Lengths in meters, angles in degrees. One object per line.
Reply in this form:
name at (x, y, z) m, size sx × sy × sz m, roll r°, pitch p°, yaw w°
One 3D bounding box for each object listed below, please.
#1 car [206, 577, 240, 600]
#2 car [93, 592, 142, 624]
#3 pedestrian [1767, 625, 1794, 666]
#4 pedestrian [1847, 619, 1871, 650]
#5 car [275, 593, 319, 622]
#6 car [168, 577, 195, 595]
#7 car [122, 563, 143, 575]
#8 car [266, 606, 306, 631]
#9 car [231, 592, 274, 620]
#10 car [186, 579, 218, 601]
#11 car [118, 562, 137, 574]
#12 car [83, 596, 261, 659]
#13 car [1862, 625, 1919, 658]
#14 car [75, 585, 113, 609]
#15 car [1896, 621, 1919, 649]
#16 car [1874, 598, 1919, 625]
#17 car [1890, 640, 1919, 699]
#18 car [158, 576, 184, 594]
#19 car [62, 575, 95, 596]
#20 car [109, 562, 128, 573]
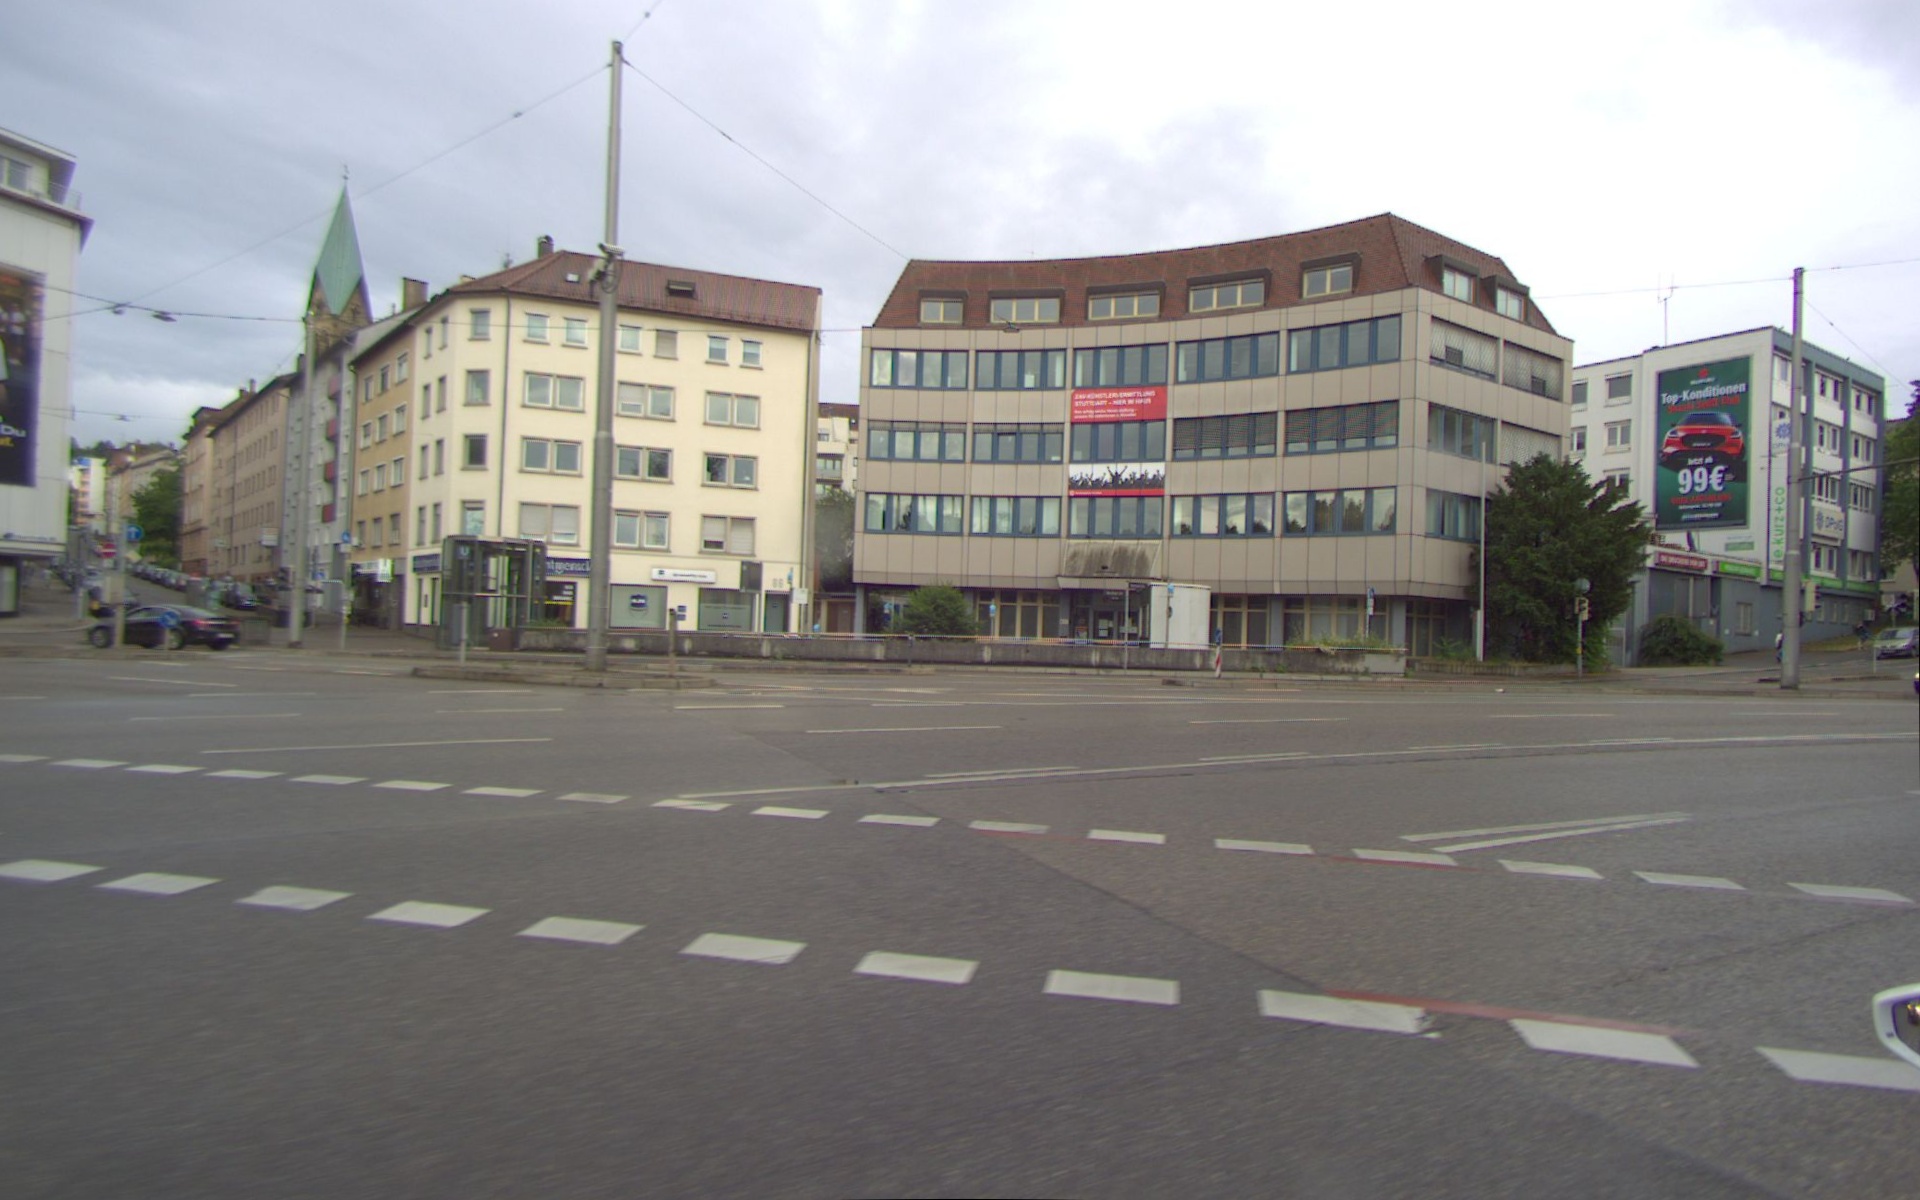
car at (-57.577, -0.927, 78.410) m, size 1.903 × 1.611 × 3.954 m, roll 3°, pitch -1°, yaw -39°
car at (-45.754, 0.467, 54.601) m, size 1.903 × 1.611 × 3.955 m, roll 3°, pitch -3°, yaw -39°
pedestrian at (41.897, 2.339, 51.292) m, size 0.971 × 2.040 × 0.834 m, roll 3°, pitch -2°, yaw -32°
pedestrian at (52.237, 1.996, 58.367) m, size 0.971 × 1.740 × 0.834 m, roll 3°, pitch -2°, yaw -32°
car at (-38.842, 0.447, 58.798) m, size 1.746 × 1.611 × 3.754 m, roll 3°, pitch -3°, yaw -39°
car at (-73.725, -1.328, 95.130) m, size 1.903 × 1.611 × 3.954 m, roll 3°, pitch -1°, yaw -39°
car at (-117.835, -4.383, 143.078) m, size 1.906 × 1.611 × 3.947 m, roll 4°, pitch -1°, yaw -44°
car at (-35.580, 0.958, 52.998) m, size 1.393 × 1.246 × 3.128 m, roll 3°, pitch -3°, yaw -39°
car at (-44.203, 0.388, 62.738) m, size 1.903 × 1.611 × 3.955 m, roll 3°, pitch -3°, yaw -39°
car at (-61.496, -0.838, 81.446) m, size 1.903 × 1.611 × 3.954 m, roll 3°, pitch -1°, yaw -39°
car at (-125.565, -4.848, 151.514) m, size 1.906 × 1.611 × 3.947 m, roll 4°, pitch -1°, yaw -44°
car at (-26.055, 0.923, 33.301) m, size 4.350 × 1.867 × 2.001 m, roll 2°, pitch -2°, yaw 5°
car at (50.492, 2.210, 54.017) m, size 4.129 × 1.482 × 1.823 m, roll -3°, pitch 0°, yaw -32°
car at (-62.665, -0.178, 72.721) m, size 1.903 × 1.611 × 3.955 m, roll 3°, pitch -3°, yaw -39°
car at (55.320, 1.956, 57.172) m, size 4.021 × 1.450 × 1.825 m, roll -3°, pitch 0°, yaw -30°
car at (75.092, 0.941, 79.093) m, size 1.981 × 2.032 × 4.387 m, roll 3°, pitch -3°, yaw -36°
car at (26.992, 1.868, 26.301) m, size 4.046 × 1.532 × 1.765 m, roll 2°, pitch -2°, yaw -9°
car at (-77.730, -1.483, 98.919) m, size 1.903 × 1.611 × 3.954 m, roll 3°, pitch -1°, yaw -39°
car at (-76.208, -1.267, 86.866) m, size 1.903 × 1.611 × 3.955 m, roll 3°, pitch -3°, yaw -39°
car at (-129.449, -4.990, 154.488) m, size 1.906 × 1.611 × 3.947 m, roll 4°, pitch -1°, yaw -44°
